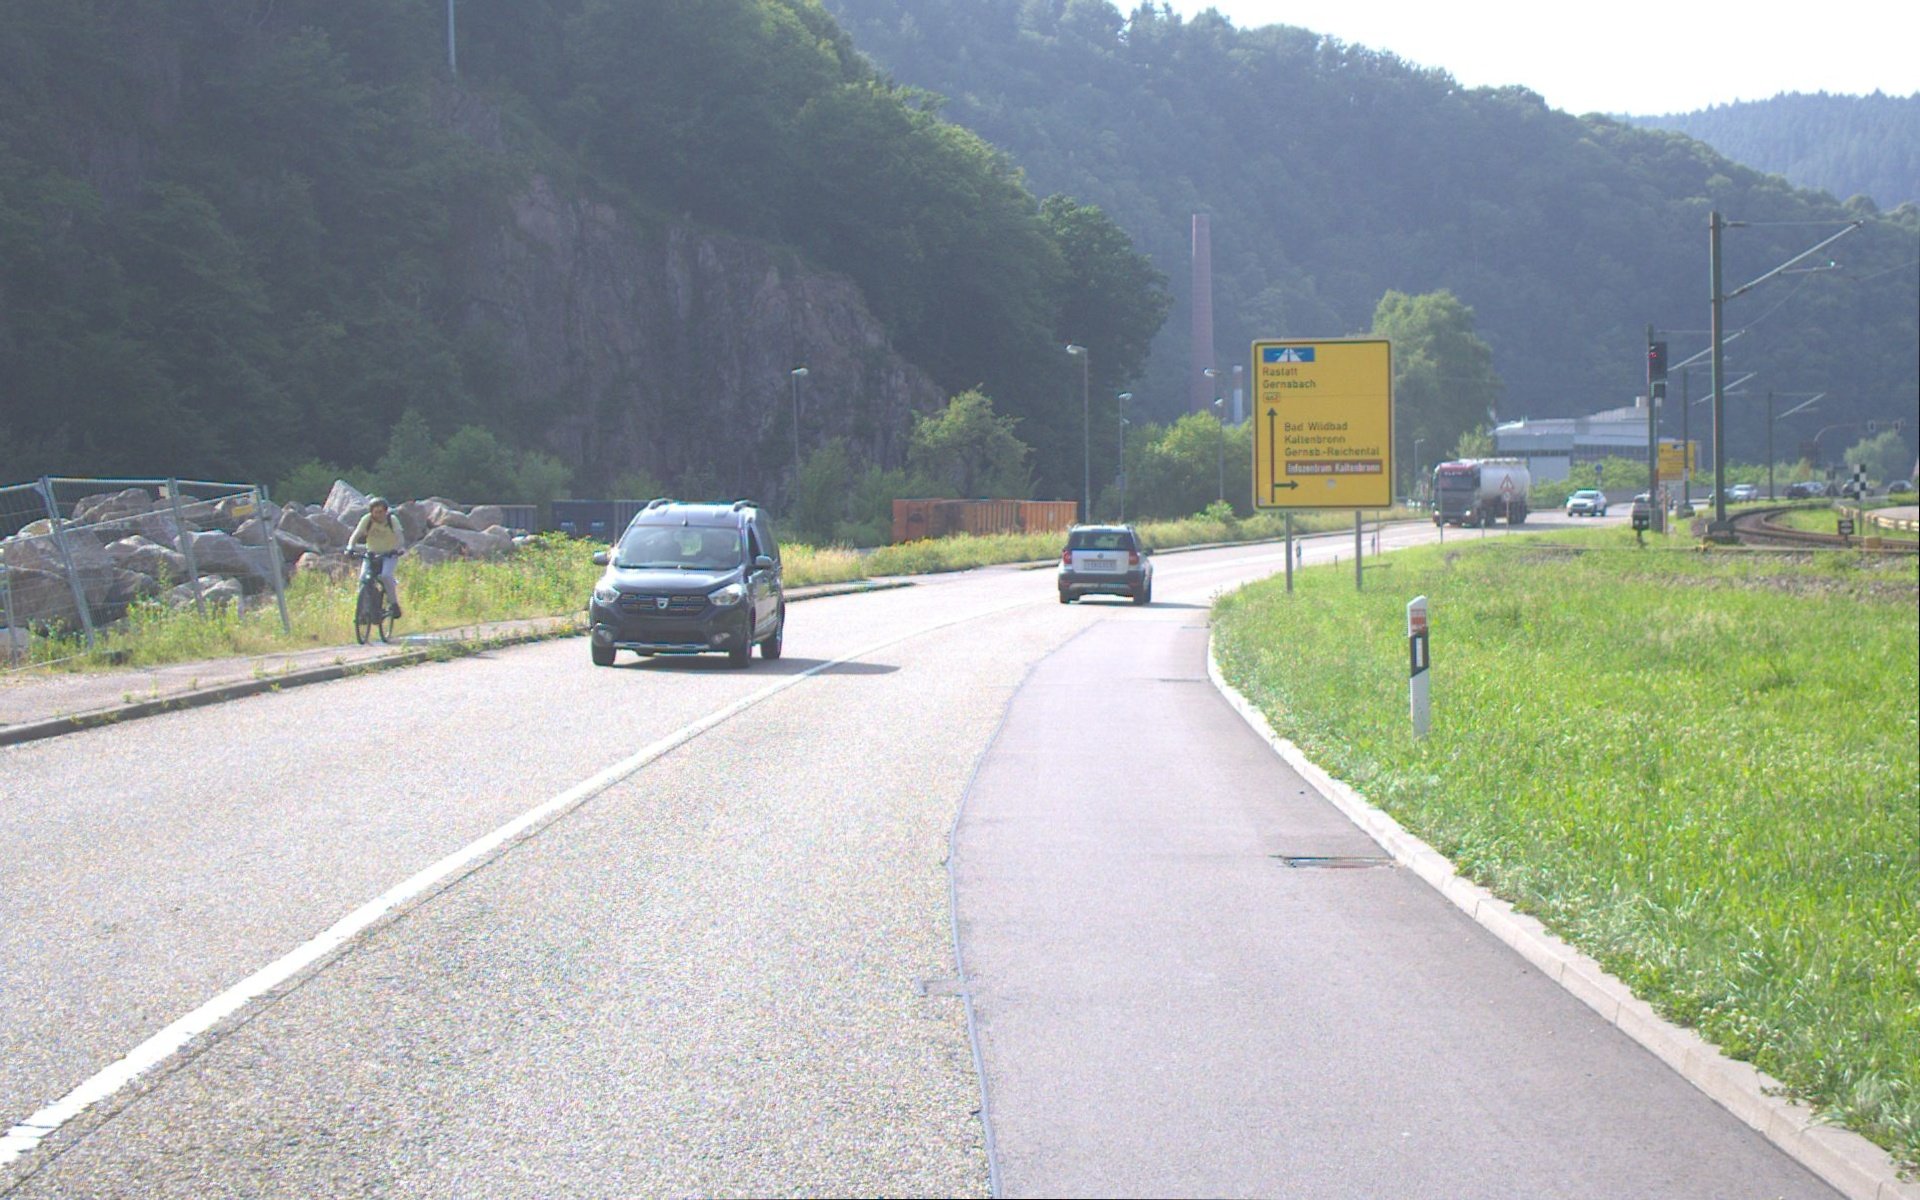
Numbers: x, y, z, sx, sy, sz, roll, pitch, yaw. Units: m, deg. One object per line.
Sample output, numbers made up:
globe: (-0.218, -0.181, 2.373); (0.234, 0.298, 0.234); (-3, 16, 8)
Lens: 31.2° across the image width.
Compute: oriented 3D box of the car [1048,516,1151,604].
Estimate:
car: (2.963, -0.865, 72.365); (1.994, 1.717, 3.990); (-2, 1, 4)

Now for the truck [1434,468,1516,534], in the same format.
truck: (31.285, -5.985, 208.269); (2.752, 3.822, 14.551); (1, 2, 17)

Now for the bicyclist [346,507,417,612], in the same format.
bicyclist: (-6.839, -0.479, 40.676); (0.684, 1.220, 0.858); (0, 1, 1)

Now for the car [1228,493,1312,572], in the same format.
car: (8.371, -1.837, 93.018); (1.994, 2.007, 4.000); (-2, 1, 2)

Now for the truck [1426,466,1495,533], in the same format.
truck: (29.504, -5.942, 202.528); (2.752, 3.822, 8.192); (1, 2, 17)

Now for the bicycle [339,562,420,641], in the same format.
bicycle: (-6.853, 0.005, 40.678); (0.539, 0.878, 2.253); (1, 1, 1)

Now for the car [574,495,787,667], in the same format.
car: (-3.075, -0.252, 38.718); (1.851, 1.778, 4.684); (1, 1, 2)
